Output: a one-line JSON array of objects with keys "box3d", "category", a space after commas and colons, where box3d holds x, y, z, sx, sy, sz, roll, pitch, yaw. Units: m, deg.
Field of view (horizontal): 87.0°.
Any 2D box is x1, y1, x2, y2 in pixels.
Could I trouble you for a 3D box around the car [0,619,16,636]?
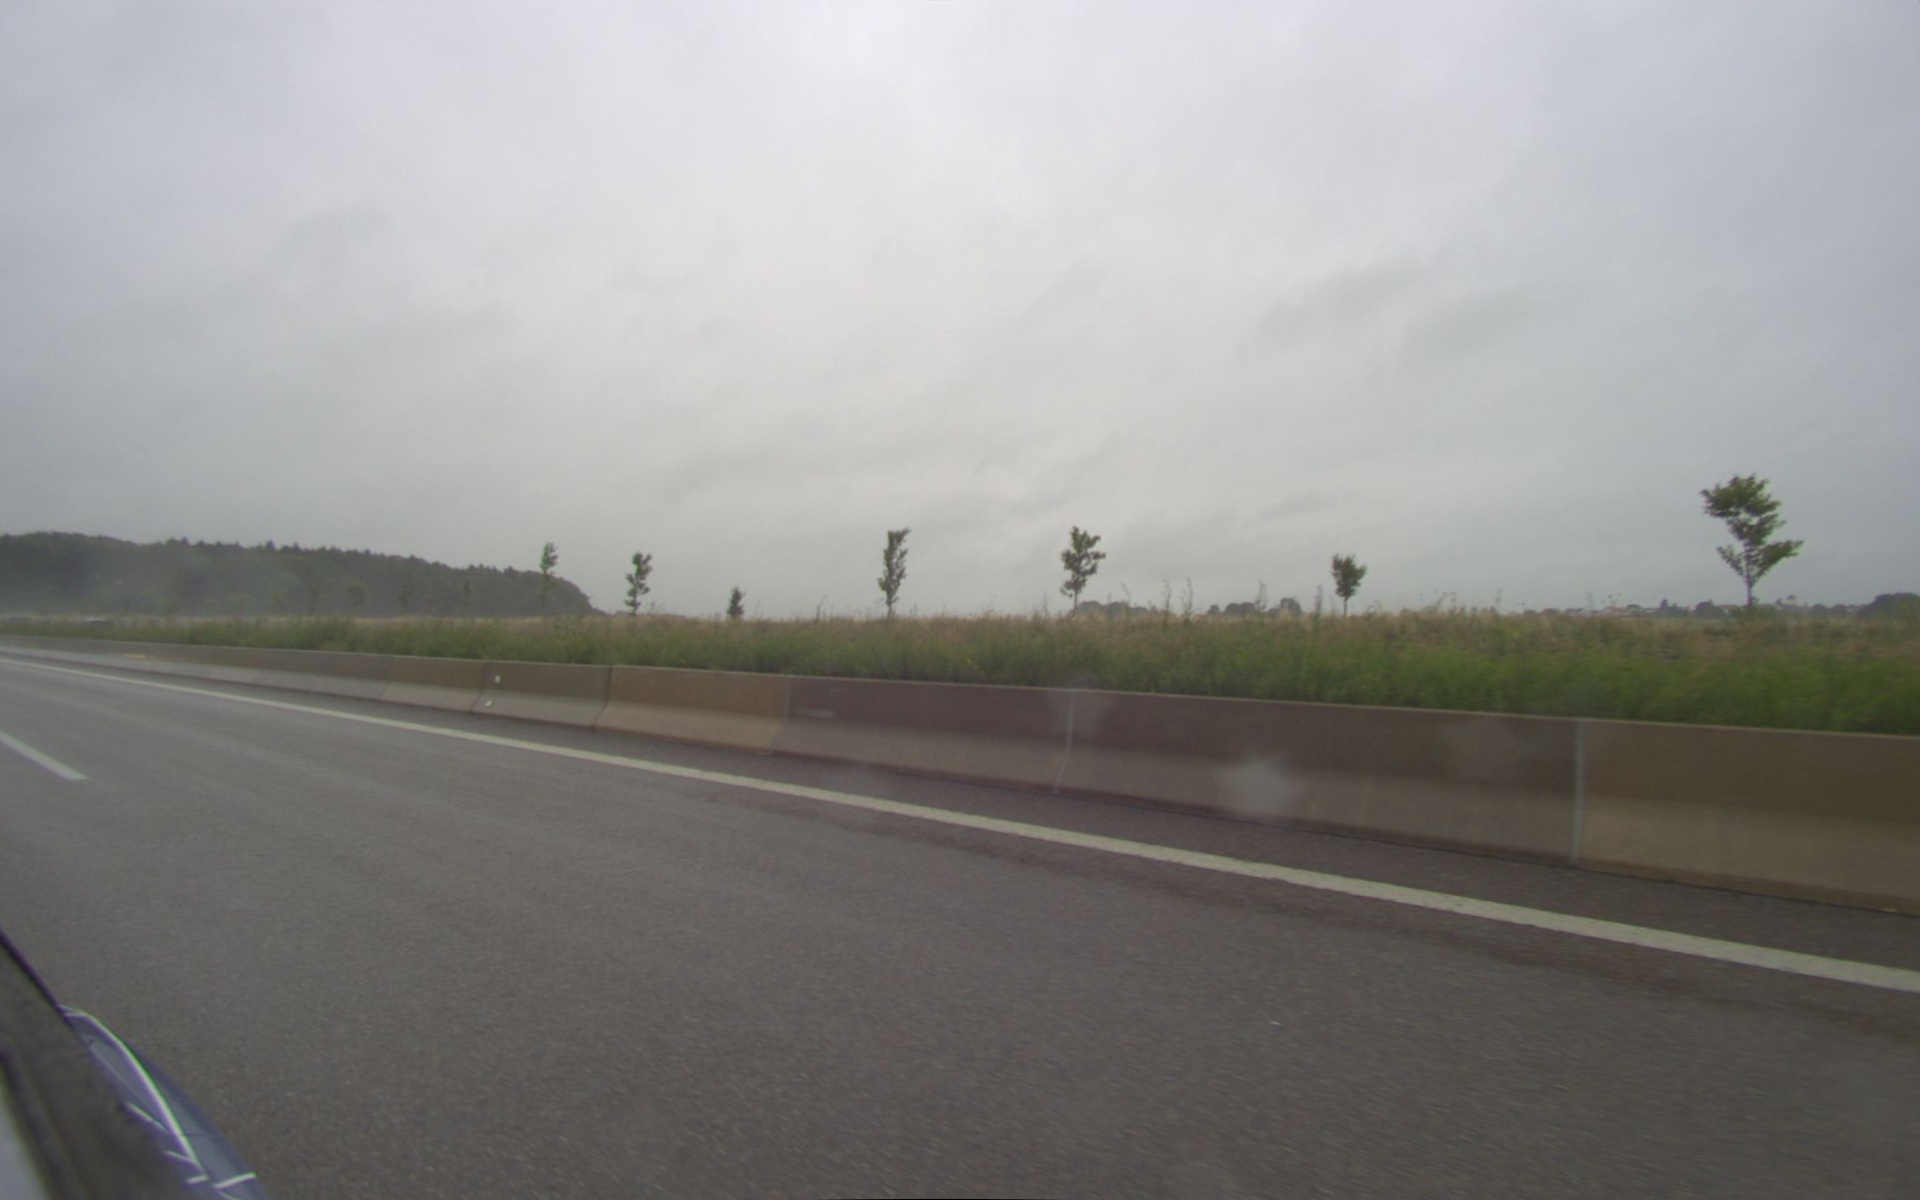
[{"box3d": [-97.437, 2.817, 103.049, 3.169, 1.740, 1.480, -1, -1, 39], "category": "car"}]
